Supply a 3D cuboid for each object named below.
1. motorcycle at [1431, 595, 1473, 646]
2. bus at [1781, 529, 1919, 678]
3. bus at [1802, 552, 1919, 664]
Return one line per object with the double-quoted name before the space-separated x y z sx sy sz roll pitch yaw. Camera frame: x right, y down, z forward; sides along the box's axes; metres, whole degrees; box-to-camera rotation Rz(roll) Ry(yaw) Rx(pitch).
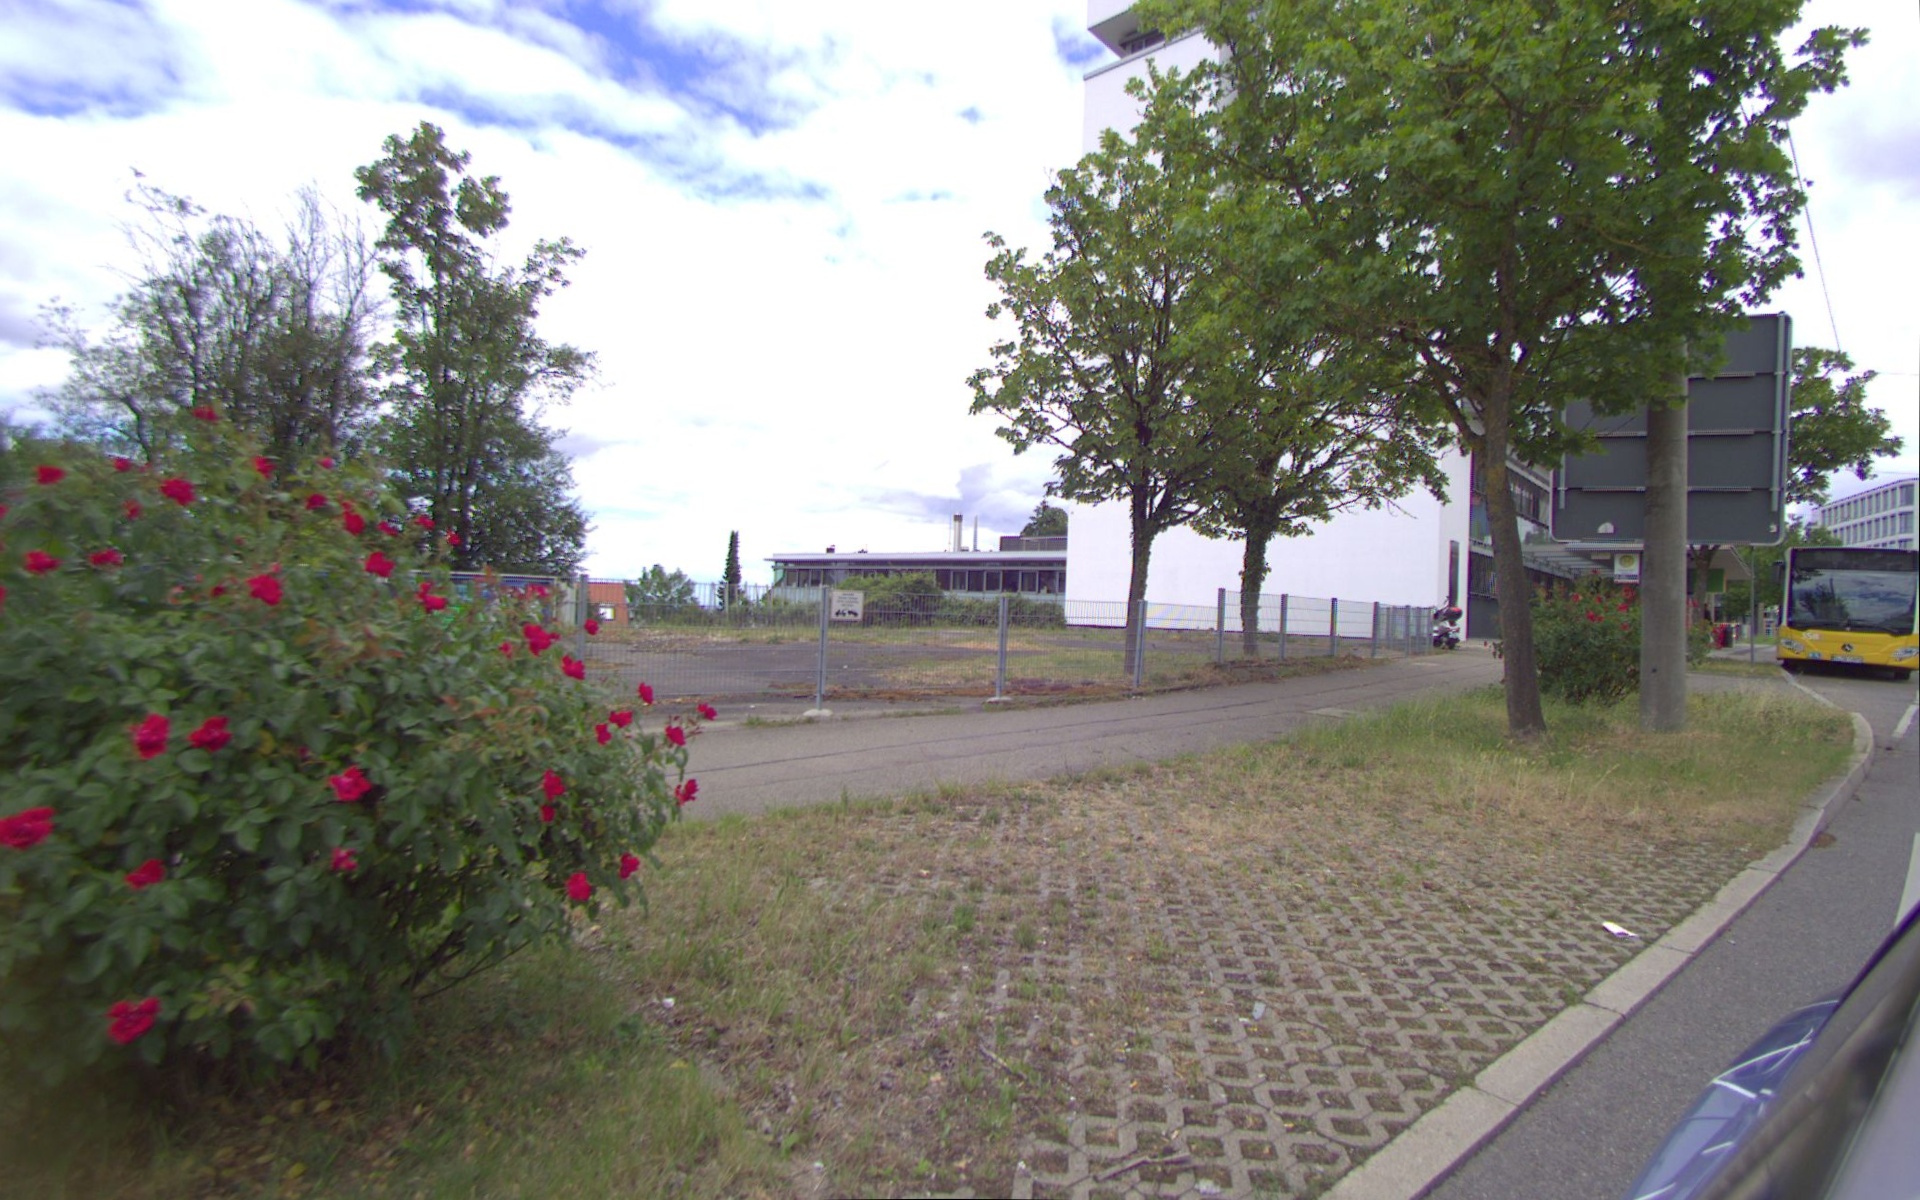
"motorcycle" 12.634 0.506 26.033 0.575 1.237 1.576 1 0 11
"bus" 23.211 0.104 25.962 2.712 3.203 8.986 4 2 42
"bus" 29.187 0.256 32.560 2.712 3.148 8.730 2 0 43
